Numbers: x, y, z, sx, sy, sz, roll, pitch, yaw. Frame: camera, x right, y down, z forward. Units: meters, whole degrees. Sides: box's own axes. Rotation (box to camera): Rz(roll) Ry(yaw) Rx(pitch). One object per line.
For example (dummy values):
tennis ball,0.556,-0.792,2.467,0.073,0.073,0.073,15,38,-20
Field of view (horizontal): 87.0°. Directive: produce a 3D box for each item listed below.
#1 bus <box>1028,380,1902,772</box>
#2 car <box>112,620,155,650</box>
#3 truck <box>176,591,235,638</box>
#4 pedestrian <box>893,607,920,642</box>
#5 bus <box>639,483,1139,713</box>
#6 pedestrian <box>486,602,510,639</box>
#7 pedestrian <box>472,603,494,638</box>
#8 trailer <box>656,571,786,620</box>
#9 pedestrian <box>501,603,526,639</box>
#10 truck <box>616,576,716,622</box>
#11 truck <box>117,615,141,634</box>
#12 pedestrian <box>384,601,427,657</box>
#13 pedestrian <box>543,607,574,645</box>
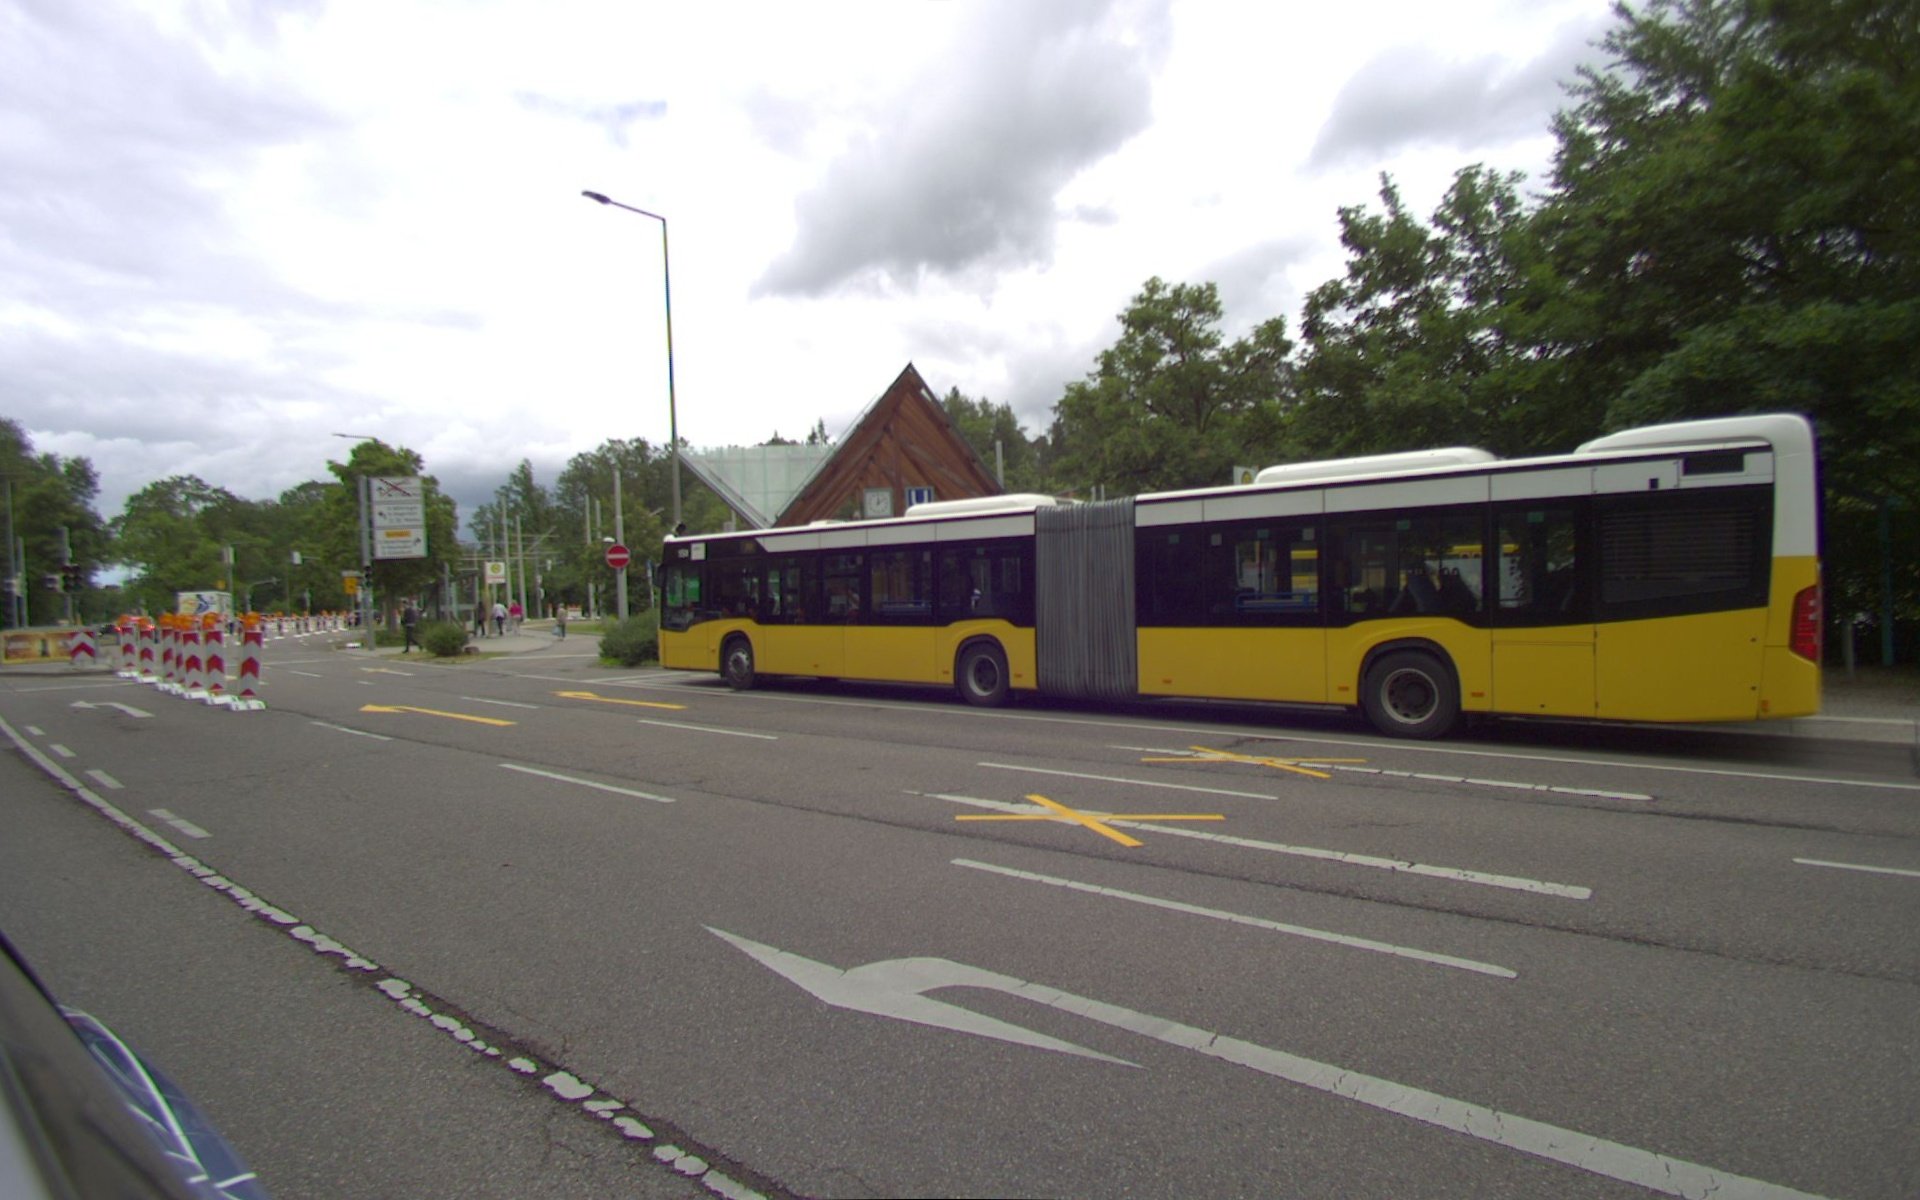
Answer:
bus,5.165,-0.125,12.076,8.689,3.150,2.869,-1,-1,41
car,-46.394,1.935,56.789,1.785,1.520,4.315,0,0,-40
truck,-55.503,1.078,74.571,2.592,3.263,6.226,0,-1,-28
pedestrian,-1.616,0.734,30.575,0.548,0.991,0.567,-4,1,-32
bus,-1.791,0.044,18.140,9.754,3.150,2.869,-1,-1,41
pedestrian,-21.466,0.954,47.009,0.675,1.678,0.871,-4,1,-41
pedestrian,-22.423,0.958,47.549,0.764,1.557,0.630,-4,2,-36
trailer,-22.387,-0.373,94.595,11.789,3.910,3.761,-3,1,23
pedestrian,-20.280,0.963,45.960,0.779,1.563,0.777,-4,1,-38
truck,-28.197,-0.078,97.048,8.713,3.910,3.761,-3,1,23
truck,-154.872,4.535,188.623,2.703,3.235,6.690,-4,1,-34
pedestrian,-18.933,0.965,34.557,0.979,1.822,0.767,-3,1,-6
pedestrian,-16.992,1.100,42.822,0.869,1.536,0.763,-3,1,19
